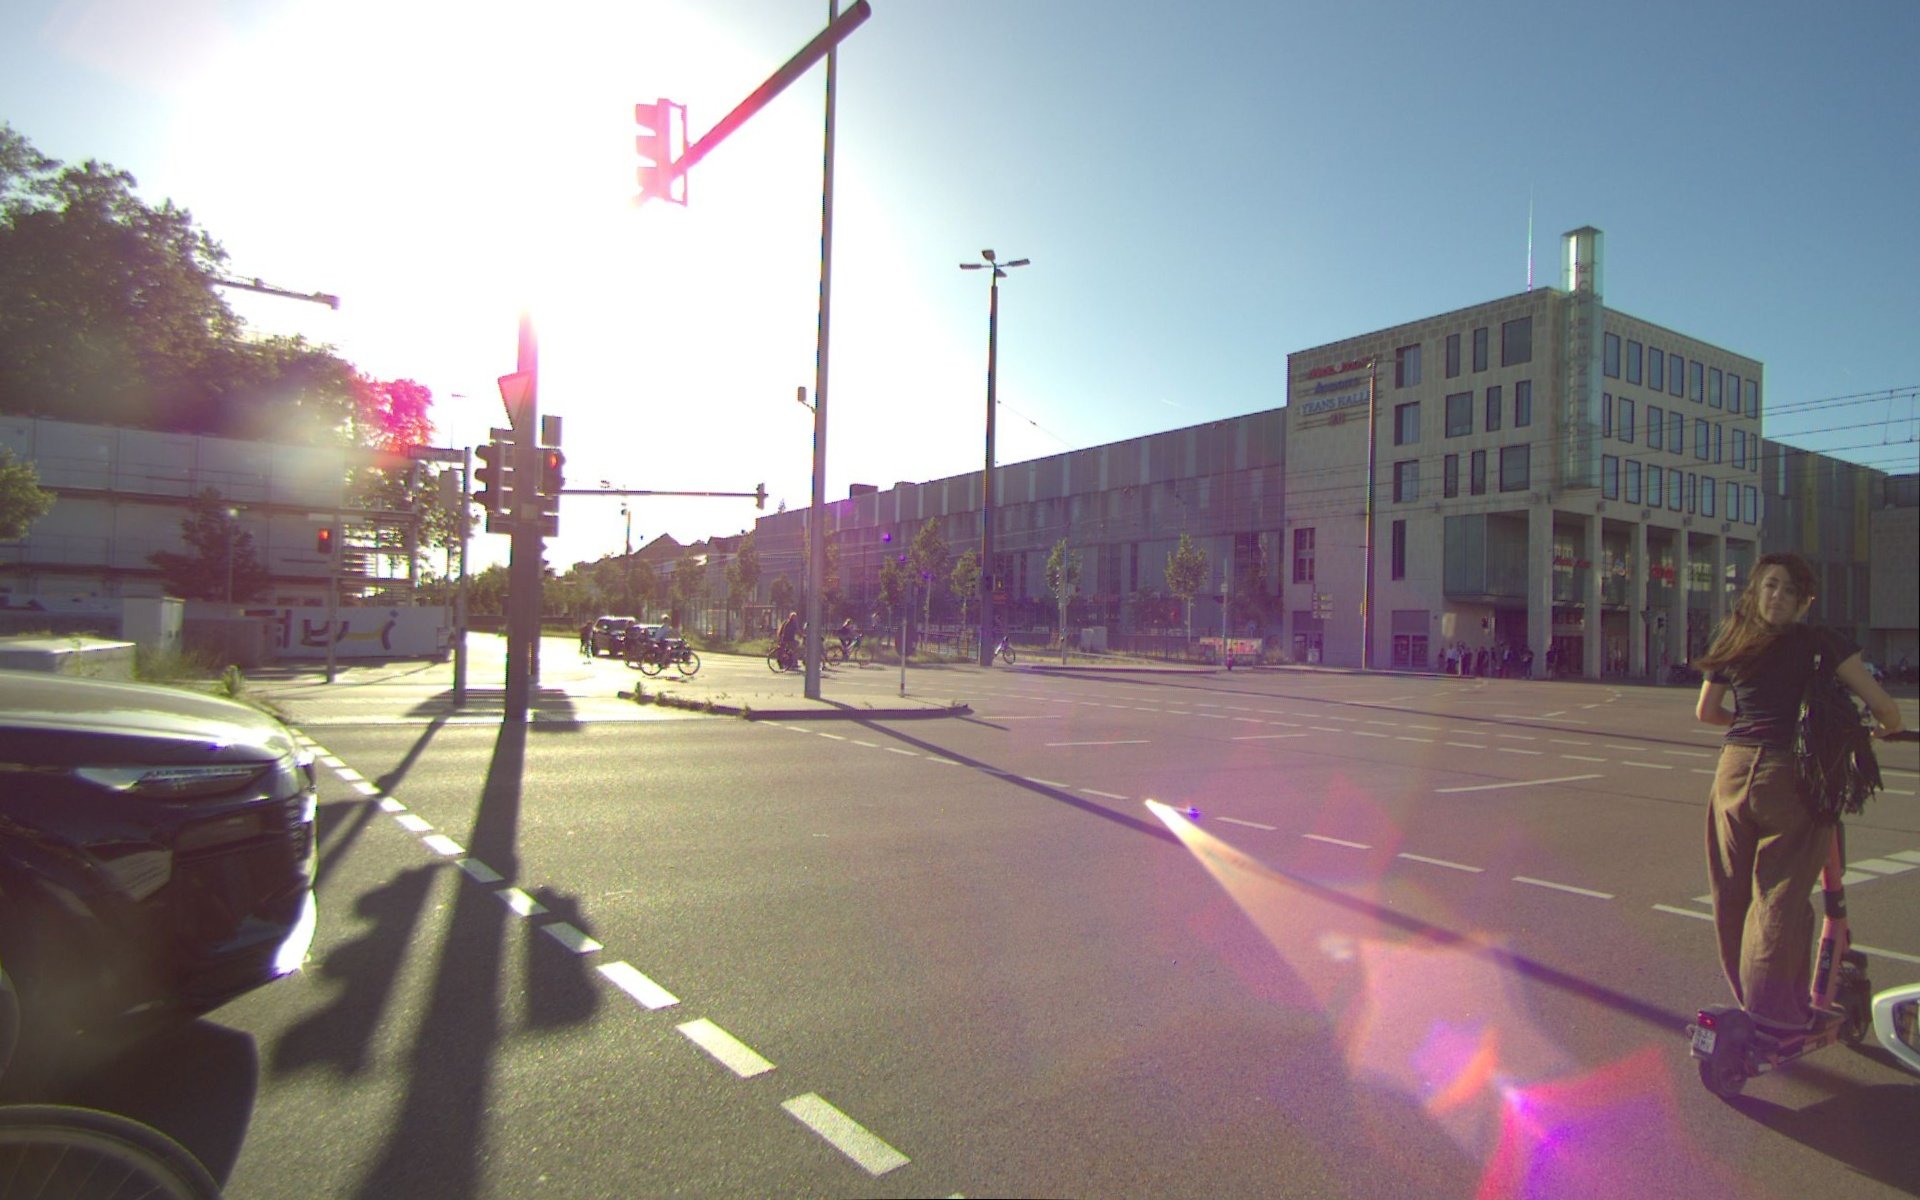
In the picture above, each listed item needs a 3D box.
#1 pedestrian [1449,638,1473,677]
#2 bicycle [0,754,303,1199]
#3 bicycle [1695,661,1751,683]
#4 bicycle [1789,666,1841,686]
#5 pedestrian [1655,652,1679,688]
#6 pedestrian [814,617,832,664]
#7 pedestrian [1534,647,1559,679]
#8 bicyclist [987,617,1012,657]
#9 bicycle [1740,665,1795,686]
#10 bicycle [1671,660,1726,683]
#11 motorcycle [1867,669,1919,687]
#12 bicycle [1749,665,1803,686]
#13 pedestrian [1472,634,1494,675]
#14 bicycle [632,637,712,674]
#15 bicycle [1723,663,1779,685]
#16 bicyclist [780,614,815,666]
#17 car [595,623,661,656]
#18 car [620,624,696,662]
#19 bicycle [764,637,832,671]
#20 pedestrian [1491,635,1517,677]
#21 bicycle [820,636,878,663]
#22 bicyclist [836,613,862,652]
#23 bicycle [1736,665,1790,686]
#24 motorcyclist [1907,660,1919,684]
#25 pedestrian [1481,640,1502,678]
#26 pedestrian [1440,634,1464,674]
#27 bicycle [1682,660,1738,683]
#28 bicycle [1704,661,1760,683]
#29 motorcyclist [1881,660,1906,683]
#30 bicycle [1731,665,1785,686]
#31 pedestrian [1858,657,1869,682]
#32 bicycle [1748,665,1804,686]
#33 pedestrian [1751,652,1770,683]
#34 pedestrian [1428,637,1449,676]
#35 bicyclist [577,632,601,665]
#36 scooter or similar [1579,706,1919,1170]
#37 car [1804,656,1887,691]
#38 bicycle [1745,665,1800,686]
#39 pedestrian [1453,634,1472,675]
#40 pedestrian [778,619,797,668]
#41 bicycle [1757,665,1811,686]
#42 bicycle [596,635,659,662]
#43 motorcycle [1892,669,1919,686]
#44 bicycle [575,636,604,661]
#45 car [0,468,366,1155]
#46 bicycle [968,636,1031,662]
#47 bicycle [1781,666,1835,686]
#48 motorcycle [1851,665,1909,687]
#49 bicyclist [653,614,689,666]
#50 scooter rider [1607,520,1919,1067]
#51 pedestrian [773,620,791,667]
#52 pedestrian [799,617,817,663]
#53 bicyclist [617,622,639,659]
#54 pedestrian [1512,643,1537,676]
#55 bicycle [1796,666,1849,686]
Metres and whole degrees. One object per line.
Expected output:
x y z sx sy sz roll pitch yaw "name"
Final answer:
27.944 3.204 56.032 0.939 2.152 0.888 3 -2 -39 "pedestrian"
-1.837 0.815 1.119 1.784 1.108 0.701 3 -2 -37 "bicycle"
42.745 4.023 56.286 0.675 1.125 2.460 2 -2 -25 "bicycle"
53.904 4.768 63.353 0.652 1.125 2.459 2 -2 -27 "bicycle"
35.464 3.503 50.401 0.748 1.763 0.747 2 -1 -31 "pedestrian"
-4.634 1.360 33.975 0.445 1.587 0.516 2 -1 -29 "pedestrian"
30.193 3.226 51.722 0.927 1.592 0.841 1 -1 21 "pedestrian"
1.526 1.428 38.760 0.610 1.525 0.750 2 -1 -29 "bicyclist"
47.357 4.430 58.921 0.675 1.125 2.459 2 -2 -27 "bicycle"
40.400 3.912 54.998 0.650 1.127 2.393 2 -2 -28 "bicycle"
62.673 5.199 67.301 0.907 1.009 2.650 3 0 -35 "motorcycle"
49.281 4.533 60.684 0.675 1.125 2.459 2 -2 -27 "bicycle"
27.890 2.899 53.570 0.880 2.152 0.947 1 -1 19 "pedestrian"
-8.088 1.558 28.246 2.050 0.991 0.800 1 -1 -27 "bicycle"
45.098 4.193 57.316 0.675 1.125 2.459 2 -2 -27 "bicycle"
-4.950 1.218 30.630 0.927 1.565 0.646 1 -1 -21 "bicyclist"
-15.440 1.798 46.576 1.979 1.394 3.964 1 -1 -33 "car"
-12.386 1.731 41.052 1.979 1.394 3.964 1 -1 -33 "car"
-4.948 1.645 30.620 1.949 1.010 0.646 2 -1 -21 "bicycle"
28.829 2.955 53.234 1.042 2.157 1.098 1 -1 20 "pedestrian"
-4.047 1.789 36.612 2.041 0.939 0.803 1 -1 -13 "bicycle"
-4.043 1.184 36.619 0.827 1.374 0.804 1 -1 -12 "bicyclist"
46.799 4.399 58.594 0.530 1.125 2.459 2 -2 -27 "bicycle"
65.772 4.925 68.783 0.907 1.596 1.129 3 0 -35 "motorcyclist"
29.093 3.221 54.981 0.901 2.040 1.021 1 -2 34 "pedestrian"
27.036 2.954 55.201 0.940 2.152 0.887 3 -2 -42 "pedestrian"
41.549 3.961 55.667 0.675 1.125 2.458 2 -2 -27 "bicycle"
43.487 4.046 56.591 0.675 1.125 2.459 2 -2 -27 "bicycle"
62.634 4.794 67.363 0.907 1.490 1.029 3 0 -35 "motorcyclist"
46.304 4.374 58.323 0.586 1.125 2.459 2 -2 -27 "bicycle"
75.211 5.769 83.622 0.475 2.040 0.610 3 0 -43 "pedestrian"
48.717 4.498 59.985 0.824 1.125 2.459 2 -2 -27 "bicycle"
52.769 4.456 66.247 0.933 2.008 1.004 1 -1 38 "pedestrian"
27.053 3.185 56.824 0.883 2.152 0.944 1 -2 35 "pedestrian"
-15.162 1.959 41.052 0.796 1.315 0.771 1 -1 -29 "bicyclist"
2.851 1.004 3.438 1.467 1.191 0.639 2 -1 -32 "scooter or similar"
44.425 3.663 50.396 4.245 1.601 1.928 2 -2 -31 "car"
47.996 4.442 59.351 0.675 1.125 2.459 2 -2 -27 "bicycle"
26.967 2.917 53.881 0.882 2.152 0.946 1 -1 27 "pedestrian"
-5.715 1.443 33.211 0.445 1.587 0.516 2 -1 -29 "pedestrian"
50.316 4.587 61.370 0.824 1.125 2.459 2 -2 -27 "bicycle"
-11.801 1.722 35.731 2.041 0.939 0.803 1 -1 -13 "bicycle"
65.730 5.355 68.796 0.907 1.009 2.650 3 0 -35 "motorcycle"
-15.162 1.959 41.052 0.796 0.939 2.062 1 -1 -28 "bicycle"
-4.298 0.465 2.552 4.738 1.684 2.183 3 -2 -31 "car"
1.529 1.904 38.762 2.366 0.953 0.750 2 -2 -30 "bicycle"
53.174 4.744 63.029 0.824 1.125 2.459 2 -2 -27 "bicycle"
60.618 4.982 66.206 0.907 1.233 2.650 3 0 -35 "motorcycle"
-8.121 1.113 28.243 0.832 1.420 0.800 1 -1 -27 "bicyclist"
2.861 0.572 3.444 1.105 1.564 0.639 2 0 -32 "scooter rider"
-5.977 1.460 33.753 0.445 1.587 0.516 2 -1 -29 "pedestrian"
-5.237 1.375 34.592 0.445 1.587 0.516 2 -1 -29 "pedestrian"
-11.815 1.446 35.742 0.626 1.287 0.804 1 -1 -12 "bicyclist"
30.046 3.157 53.490 0.988 1.672 0.949 1 -1 19 "pedestrian"
54.621 4.807 63.633 0.652 1.125 2.459 2 -2 -27 "bicycle"
